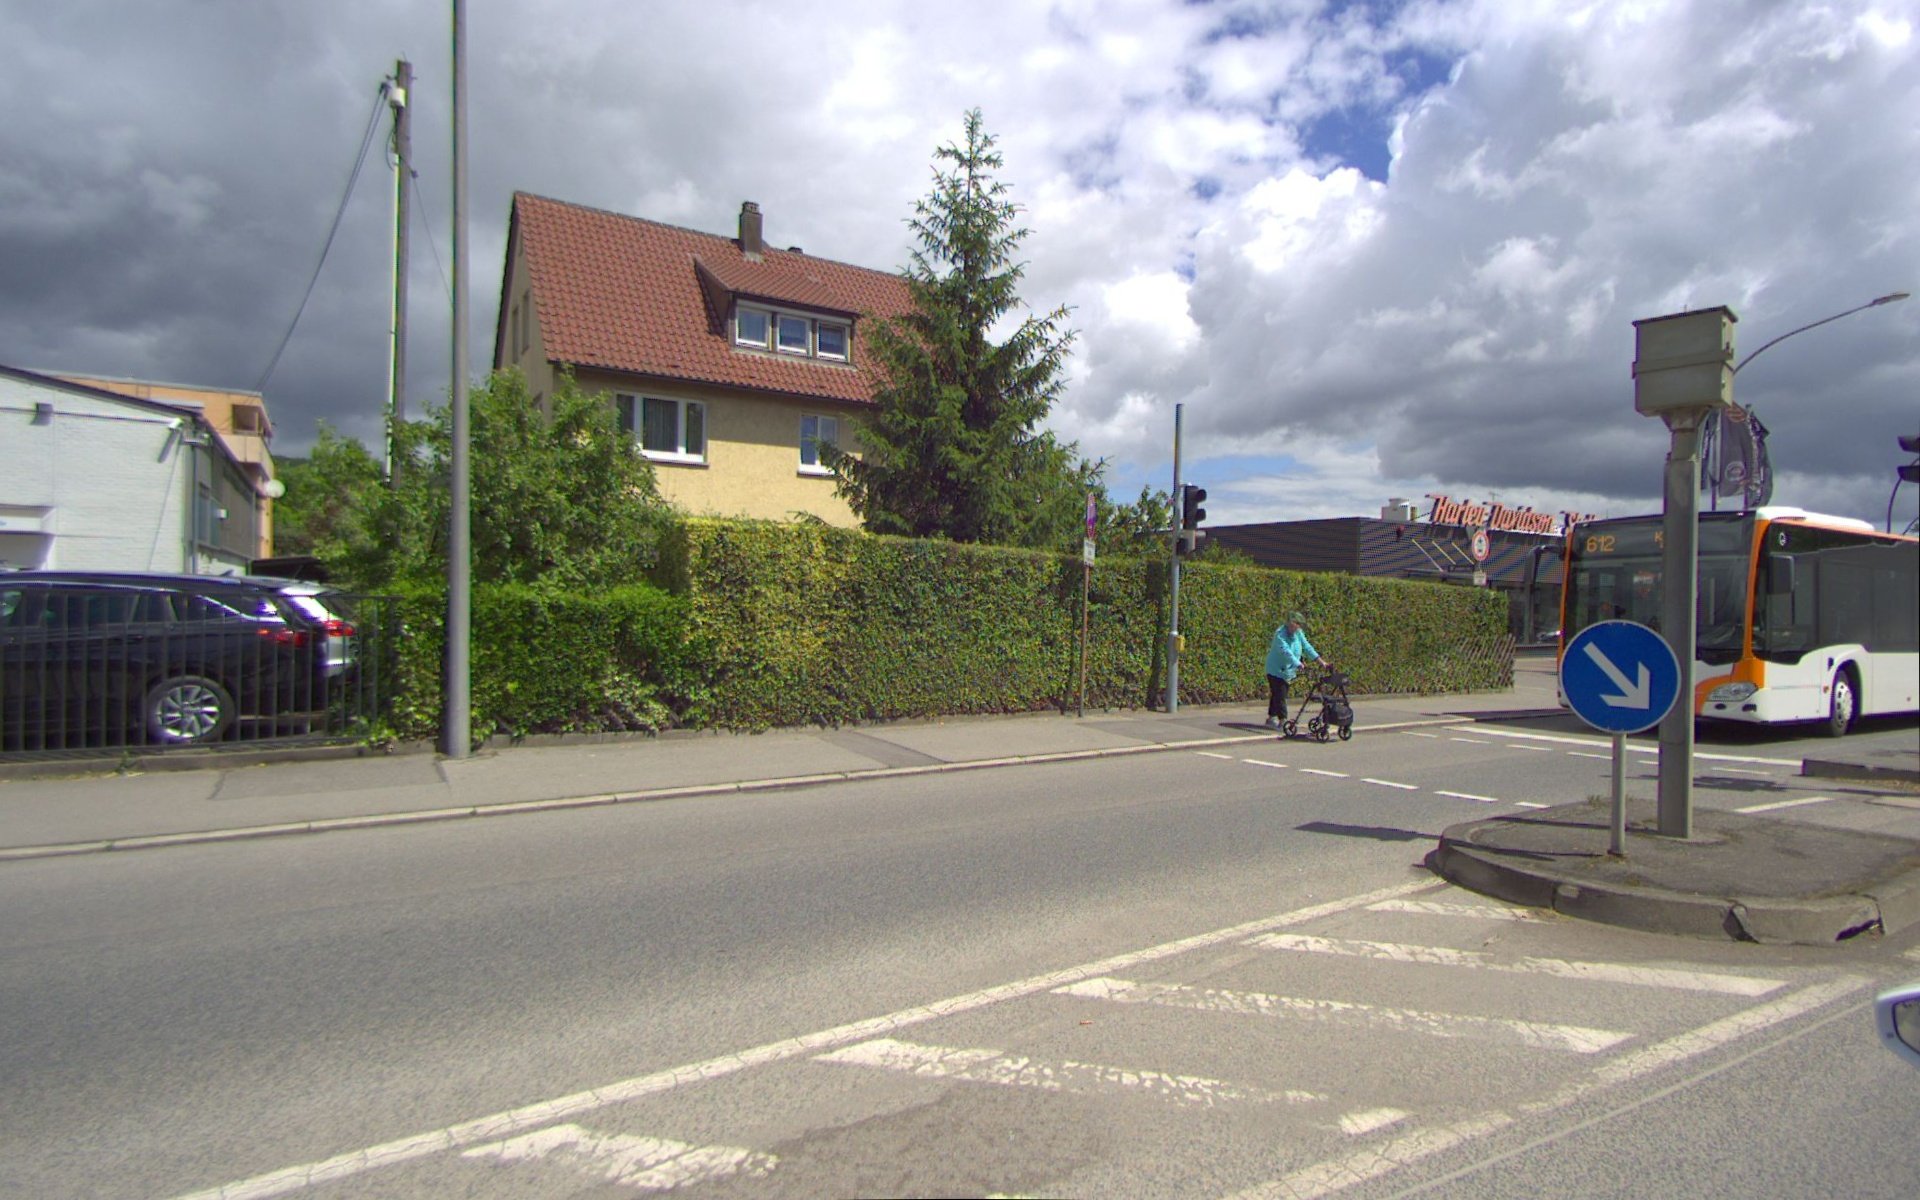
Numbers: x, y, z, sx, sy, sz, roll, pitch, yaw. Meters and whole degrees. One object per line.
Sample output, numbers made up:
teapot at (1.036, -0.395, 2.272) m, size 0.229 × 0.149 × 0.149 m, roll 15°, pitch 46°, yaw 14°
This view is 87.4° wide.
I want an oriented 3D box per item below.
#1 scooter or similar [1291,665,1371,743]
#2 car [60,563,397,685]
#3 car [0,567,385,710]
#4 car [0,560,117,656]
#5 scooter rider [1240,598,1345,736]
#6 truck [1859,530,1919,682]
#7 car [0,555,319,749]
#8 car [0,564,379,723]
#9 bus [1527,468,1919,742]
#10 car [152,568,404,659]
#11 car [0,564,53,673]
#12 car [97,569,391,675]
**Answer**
scooter or similar at (4.464, 1.238, 12.101) m, size 0.652 × 0.843 × 0.608 m, roll 1°, pitch 2°, yaw -31°
car at (-10.965, 0.367, 15.393) m, size 3.959 × 1.639 × 1.765 m, roll 1°, pitch -1°, yaw -34°
car at (-10.013, 0.484, 13.380) m, size 3.959 × 1.639 × 1.765 m, roll 1°, pitch -1°, yaw -34°
car at (-17.448, 0.119, 17.604) m, size 3.963 × 1.639 × 1.763 m, roll 2°, pitch -1°, yaw -37°
scooter rider at (4.175, 0.812, 12.642) m, size 0.787 × 1.611 × 0.873 m, roll 1°, pitch 3°, yaw -31°
truck at (30.103, 0.286, 30.507) m, size 9.068 × 4.186 × 2.410 m, roll 2°, pitch 2°, yaw -38°
car at (-8.156, 0.408, 8.804) m, size 4.224 × 1.527 × 2.140 m, roll 1°, pitch -1°, yaw -35°
car at (-8.956, 0.433, 11.119) m, size 4.224 × 1.527 × 2.140 m, roll 1°, pitch 0°, yaw -35°
bus at (14.052, 0.231, 16.409) m, size 11.982 × 3.309 × 2.764 m, roll 2°, pitch -1°, yaw -31°
car at (-13.411, 0.282, 19.918) m, size 3.963 × 1.639 × 1.763 m, roll 2°, pitch -1°, yaw -37°
car at (-16.140, 0.242, 14.772) m, size 3.963 × 1.639 × 1.763 m, roll 2°, pitch -1°, yaw -37°
car at (-12.268, 0.375, 17.442) m, size 3.963 × 1.639 × 1.763 m, roll 2°, pitch -1°, yaw -37°
